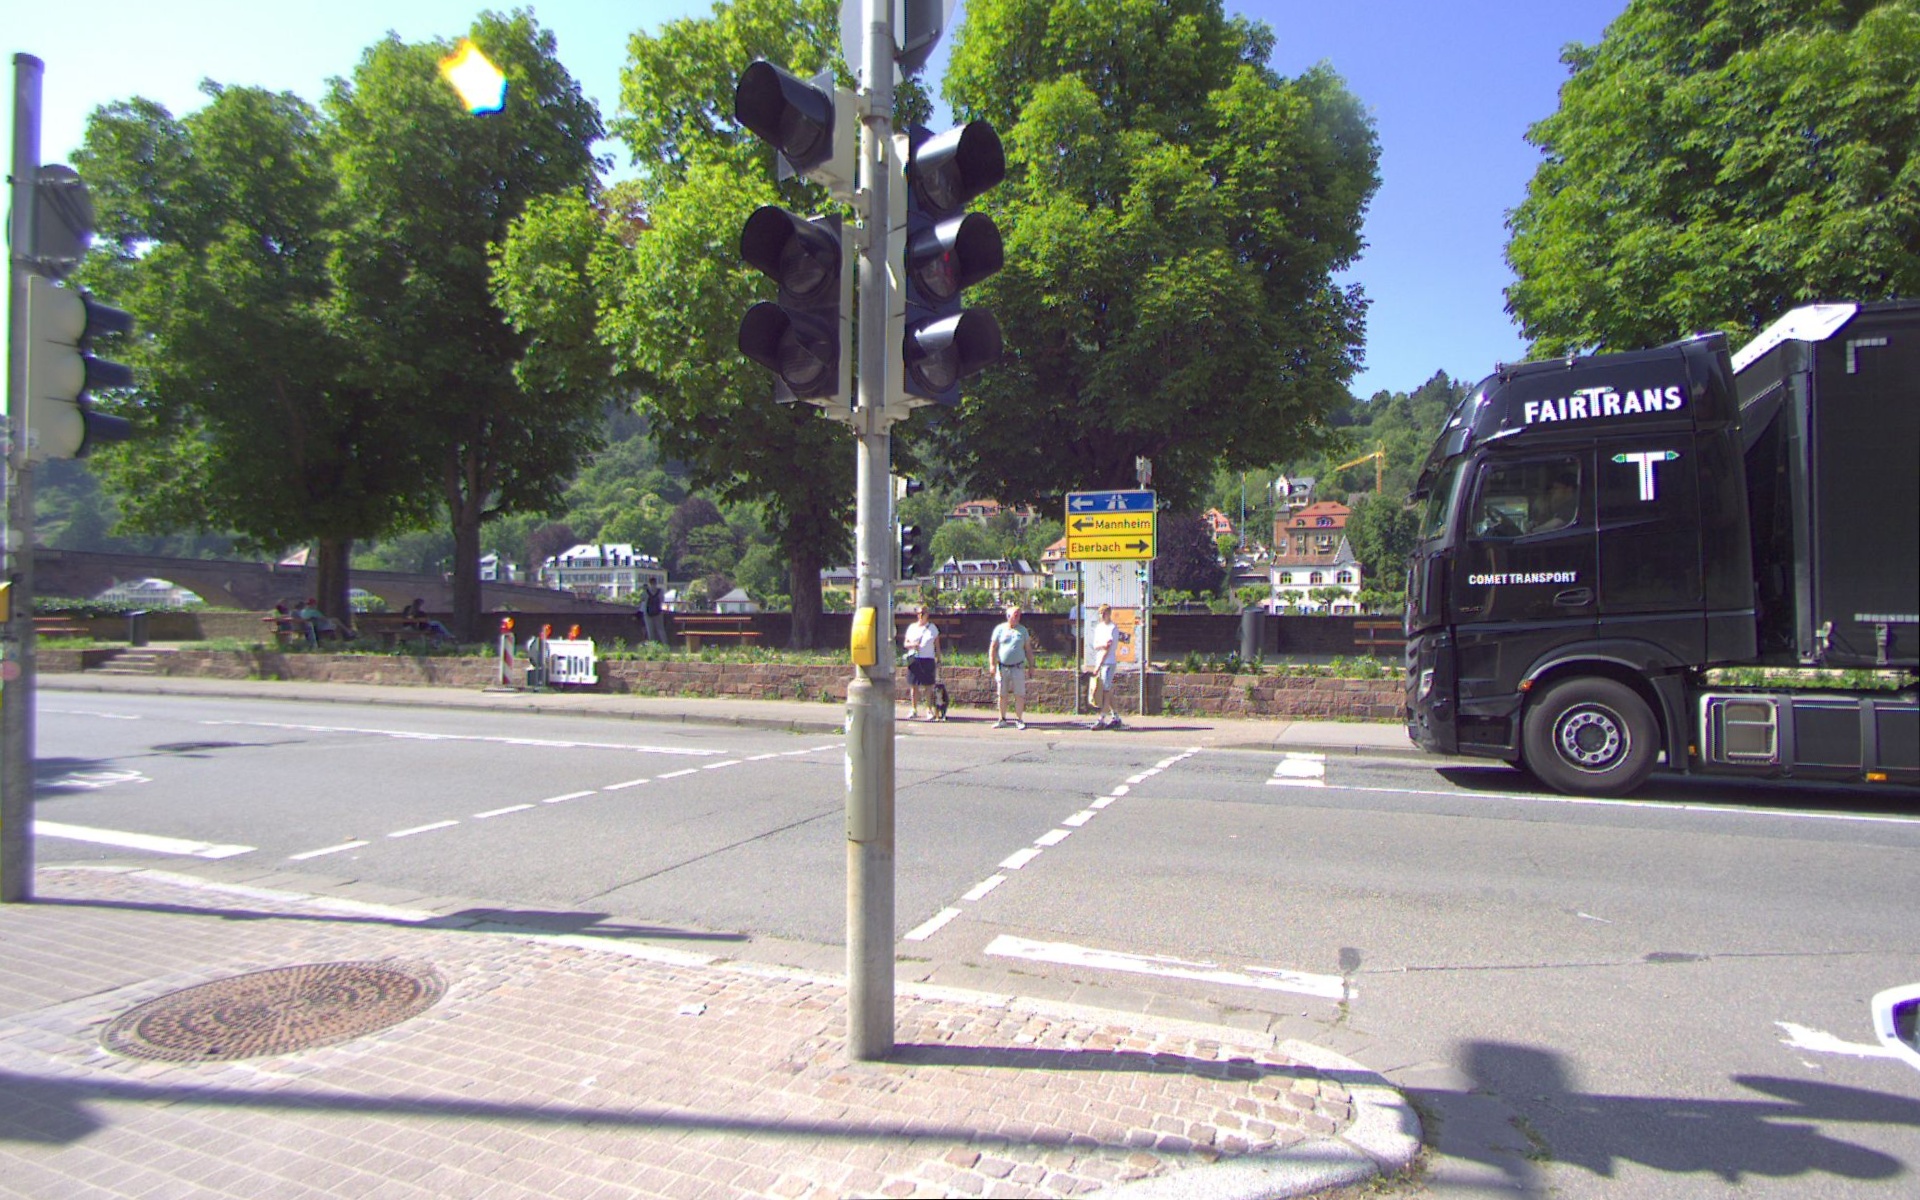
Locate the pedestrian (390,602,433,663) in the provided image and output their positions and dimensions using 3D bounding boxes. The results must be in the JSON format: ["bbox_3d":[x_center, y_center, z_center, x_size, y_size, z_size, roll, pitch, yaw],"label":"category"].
[{"bbox_3d":[-13.804,0.813,25.309,0.460,1.512,0.804,0,-2,25],"label":"pedestrian"}]

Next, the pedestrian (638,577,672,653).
[{"bbox_3d":[-7.811,0.398,25.683,0.753,1.882,0.754,2,-2,-18],"label":"pedestrian"}]

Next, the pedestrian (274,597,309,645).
[{"bbox_3d":[-18.041,0.578,27.113,0.460,1.287,0.631,0,-2,25],"label":"pedestrian"}]

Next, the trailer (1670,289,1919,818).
[{"bbox_3d":[13.517,-0.318,7.115,13.502,4.157,2.843,0,-3,21],"label":"trailer"}]

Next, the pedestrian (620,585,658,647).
[{"bbox_3d":[-9.328,0.480,29.192,0.696,1.754,0.757,1,-2,17],"label":"pedestrian"}]

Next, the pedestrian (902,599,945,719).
[{"bbox_3d":[-0.569,0.925,15.765,0.621,1.825,0.724,1,-2,-1],"label":"pedestrian"}]

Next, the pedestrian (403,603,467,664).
[{"bbox_3d":[-13.213,0.842,25.312,0.460,1.499,1.384,0,-2,25],"label":"pedestrian"}]

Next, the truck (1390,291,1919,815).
[{"bbox_3d":[7.305,-0.298,9.465,5.816,4.124,2.840,0,-3,21],"label":"truck"}]

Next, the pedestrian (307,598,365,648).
[{"bbox_3d":[-16.637,0.623,26.800,0.460,1.287,1.223,0,-2,25],"label":"pedestrian"}]

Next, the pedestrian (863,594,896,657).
[{"bbox_3d":[-1.638,0.518,20.421,0.631,1.243,0.414,-1,-5,-5],"label":"pedestrian"}]

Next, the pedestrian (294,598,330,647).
[{"bbox_3d":[-17.255,0.599,26.741,0.460,1.287,0.631,0,-2,25],"label":"pedestrian"}]

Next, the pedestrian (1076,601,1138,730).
[{"bbox_3d":[2.140,0.942,14.626,0.693,1.825,0.578,-1,-2,34],"label":"pedestrian"}]

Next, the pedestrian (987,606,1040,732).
[{"bbox_3d":[0.779,0.997,14.689,0.703,1.793,0.690,1,-2,-2],"label":"pedestrian"}]
